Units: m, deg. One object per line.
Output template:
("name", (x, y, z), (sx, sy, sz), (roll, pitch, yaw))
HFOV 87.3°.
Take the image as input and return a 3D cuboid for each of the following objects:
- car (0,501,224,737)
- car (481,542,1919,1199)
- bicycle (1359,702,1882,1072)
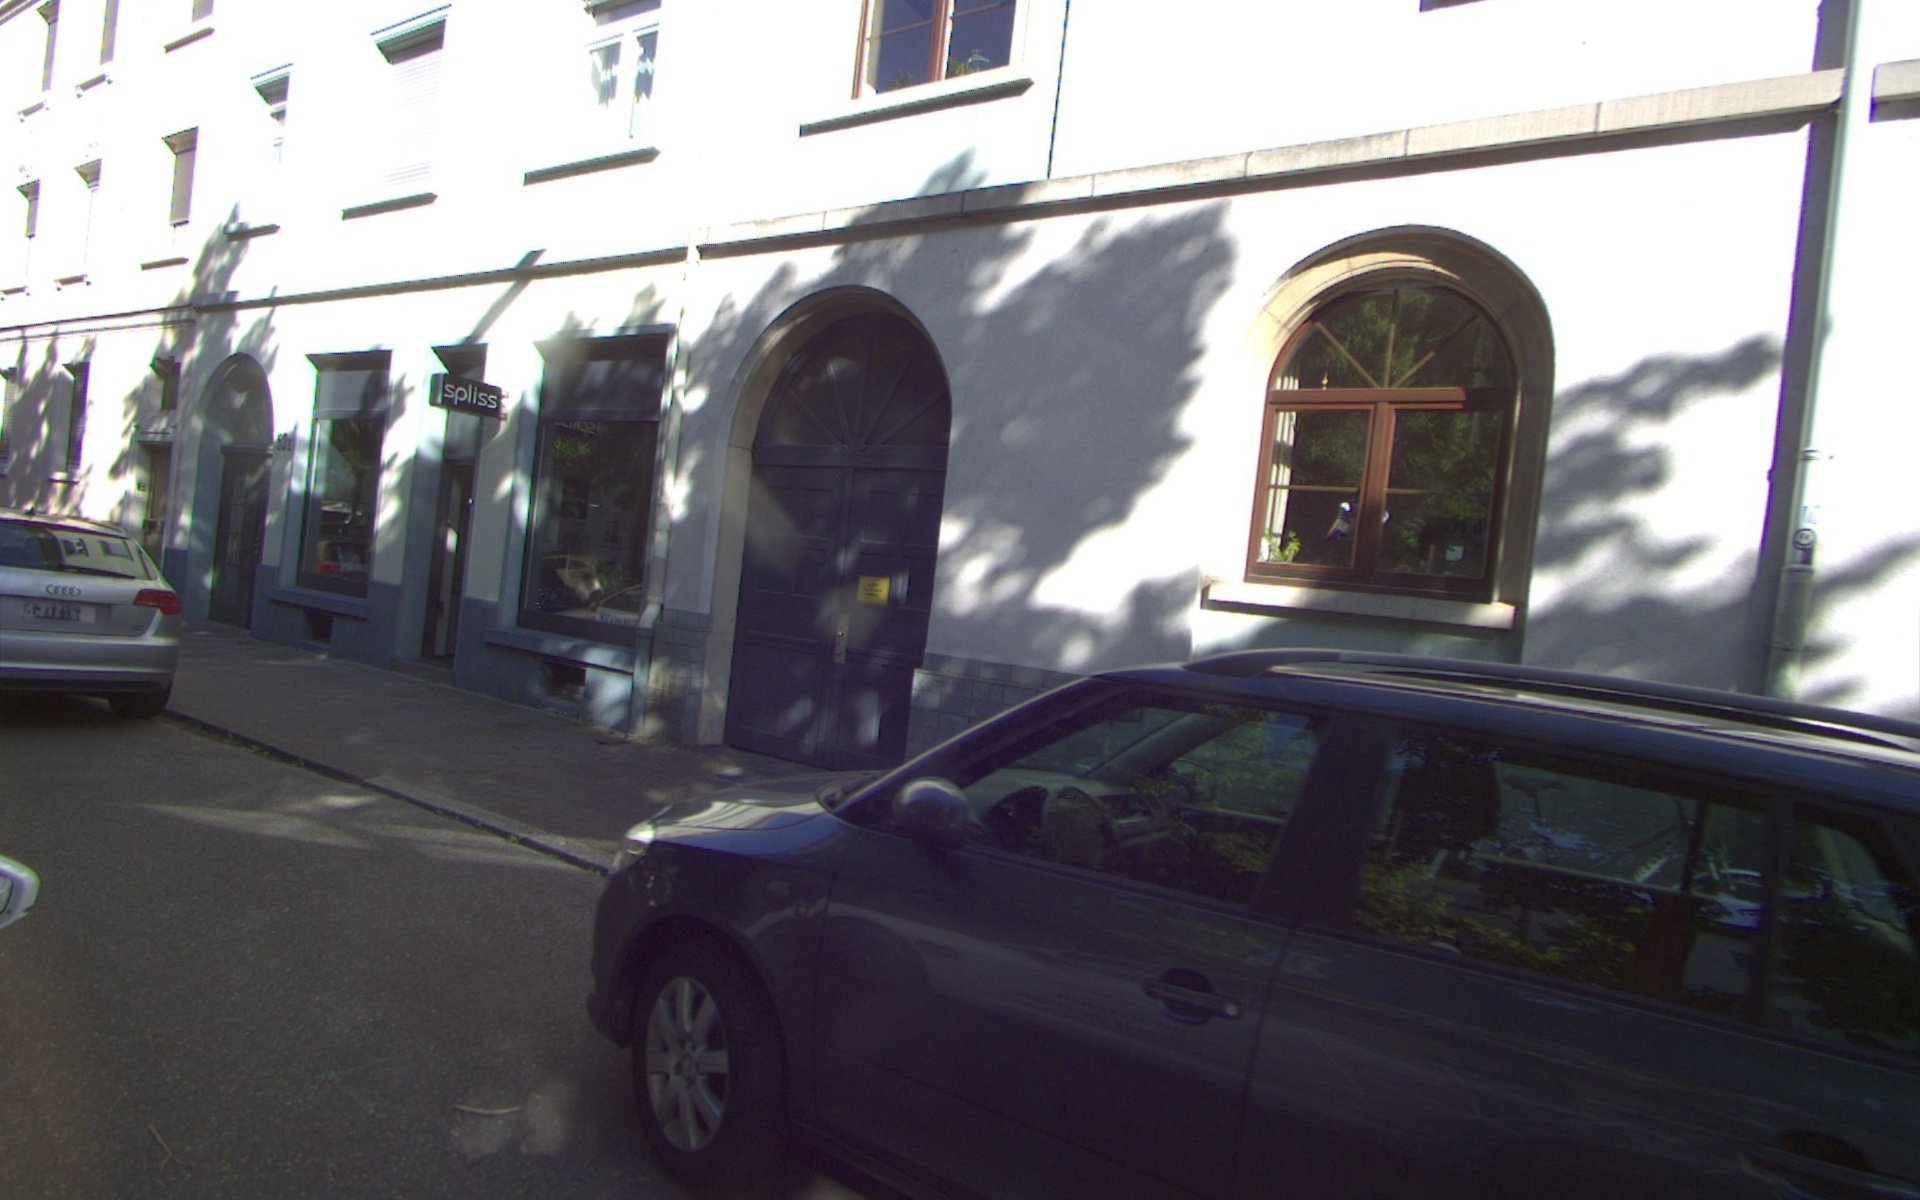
("car", (-7.609, -0.050, 7.605), (4.220, 1.448, 1.772), (7, -1, 32))
("car", (0.786, 0.874, 2.474), (3.976, 1.569, 1.582), (7, 0, 33))
("bicycle", (2.855, 1.204, 4.561), (1.814, 1.201, 0.407), (7, 0, 23))
